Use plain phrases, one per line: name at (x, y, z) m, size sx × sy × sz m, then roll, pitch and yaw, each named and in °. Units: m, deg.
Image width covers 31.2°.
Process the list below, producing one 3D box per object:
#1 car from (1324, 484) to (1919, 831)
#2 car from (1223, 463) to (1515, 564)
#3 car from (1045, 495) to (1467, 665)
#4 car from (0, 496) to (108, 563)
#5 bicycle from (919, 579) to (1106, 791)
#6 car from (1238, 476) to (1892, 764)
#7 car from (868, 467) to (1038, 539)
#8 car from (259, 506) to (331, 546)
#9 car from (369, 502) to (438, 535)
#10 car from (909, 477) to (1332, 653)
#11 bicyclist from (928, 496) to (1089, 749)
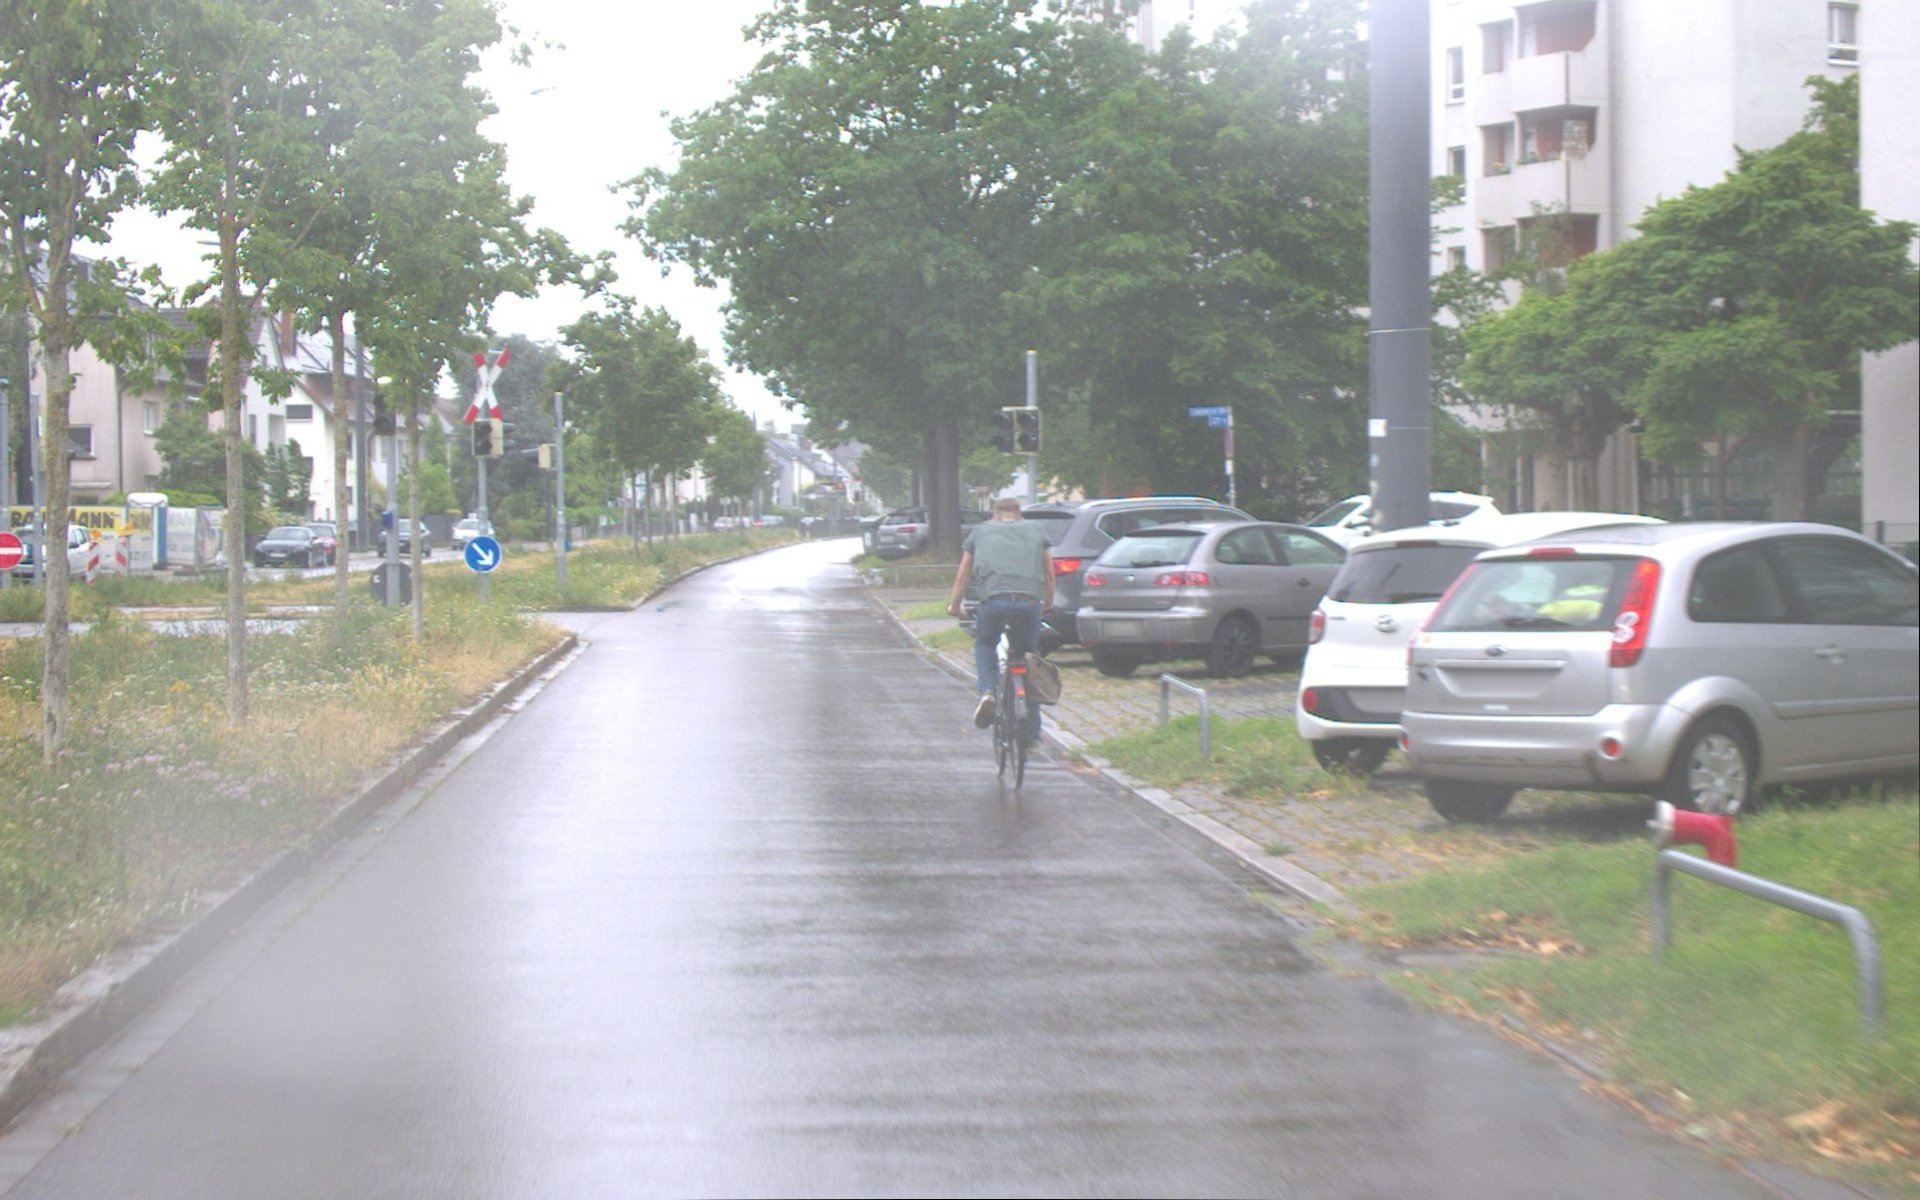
car at (3.903, 0.216, 17.221) m, size 3.988 × 1.503 × 1.783 m, roll -3°, pitch 0°, yaw -39°
car at (7.334, -1.562, 61.704) m, size 4.801 × 1.739 × 2.001 m, roll -1°, pitch 2°, yaw -17°
car at (2.830, -0.228, 32.286) m, size 3.989 × 1.424 × 1.734 m, roll -3°, pitch 3°, yaw -44°
car at (-22.301, -1.747, 84.330) m, size 1.710 × 1.537 × 4.423 m, roll 2°, pitch 2°, yaw -1°
bicycle at (0.276, 0.464, 20.287) m, size 0.809 × 1.093 × 2.518 m, roll -1°, pitch 2°, yaw -5°
car at (3.685, 0.081, 20.560) m, size 3.989 × 1.503 × 1.705 m, roll -3°, pitch 0°, yaw -42°
car at (-0.178, -2.642, 93.942) m, size 4.135 × 1.713 × 2.000 m, roll -5°, pitch 4°, yaw -33°
car at (-21.929, -2.462, 113.470) m, size 1.663 × 1.240 × 4.072 m, roll 1°, pitch 2°, yaw -1°
car at (-22.530, -3.311, 139.363) m, size 1.896 × 1.240 × 4.687 m, roll 2°, pitch 2°, yaw 1°
car at (1.706, -0.407, 35.448) m, size 4.338 × 1.645 × 1.857 m, roll -3°, pitch 3°, yaw -44°
bicyclist at (0.273, 0.113, 20.195) m, size 0.809 × 1.428 × 1.060 m, roll -1°, pitch 2°, yaw -5°
